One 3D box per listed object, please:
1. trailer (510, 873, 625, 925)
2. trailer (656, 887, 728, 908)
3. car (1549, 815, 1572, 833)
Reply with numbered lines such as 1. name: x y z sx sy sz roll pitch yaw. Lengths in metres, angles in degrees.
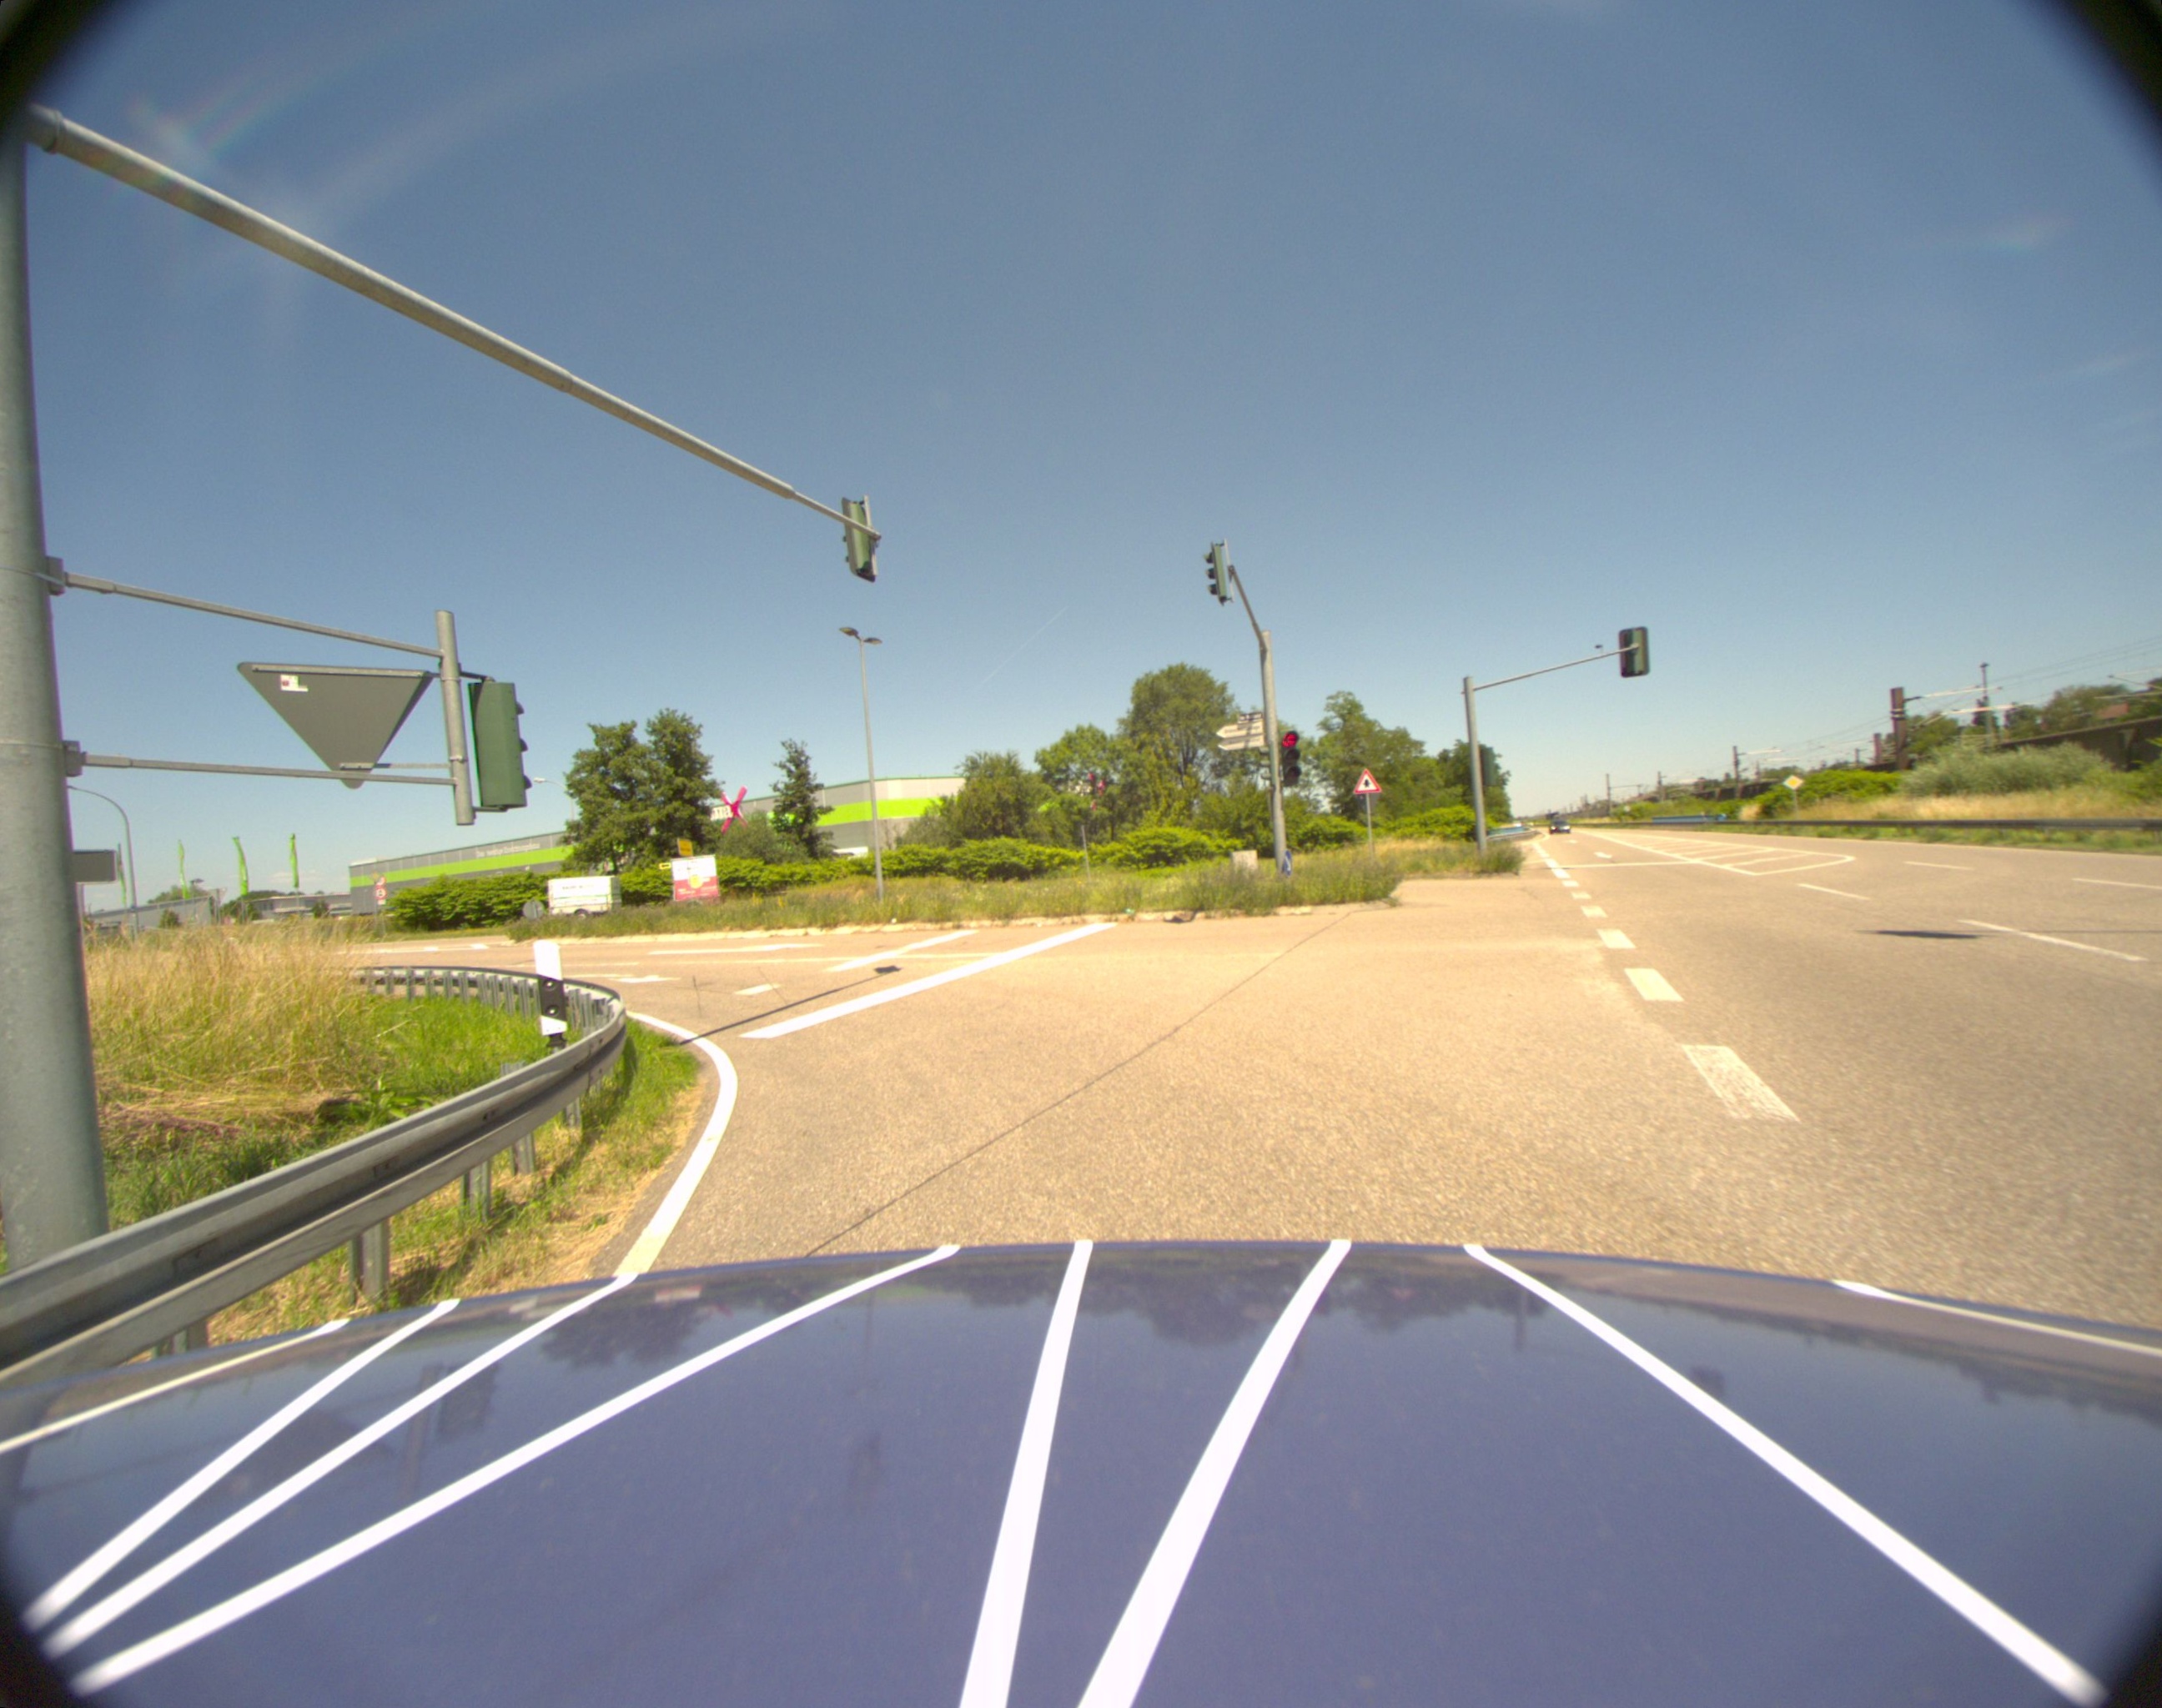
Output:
1. trailer: -24.241 2.081 36.051 3.961 2.002 1.854 -4 2 -14
2. trailer: -19.236 2.144 37.686 2.853 0.734 1.563 -4 2 -14
3. car: 51.066 -3.162 80.924 1.995 1.718 4.006 -4 1 32
